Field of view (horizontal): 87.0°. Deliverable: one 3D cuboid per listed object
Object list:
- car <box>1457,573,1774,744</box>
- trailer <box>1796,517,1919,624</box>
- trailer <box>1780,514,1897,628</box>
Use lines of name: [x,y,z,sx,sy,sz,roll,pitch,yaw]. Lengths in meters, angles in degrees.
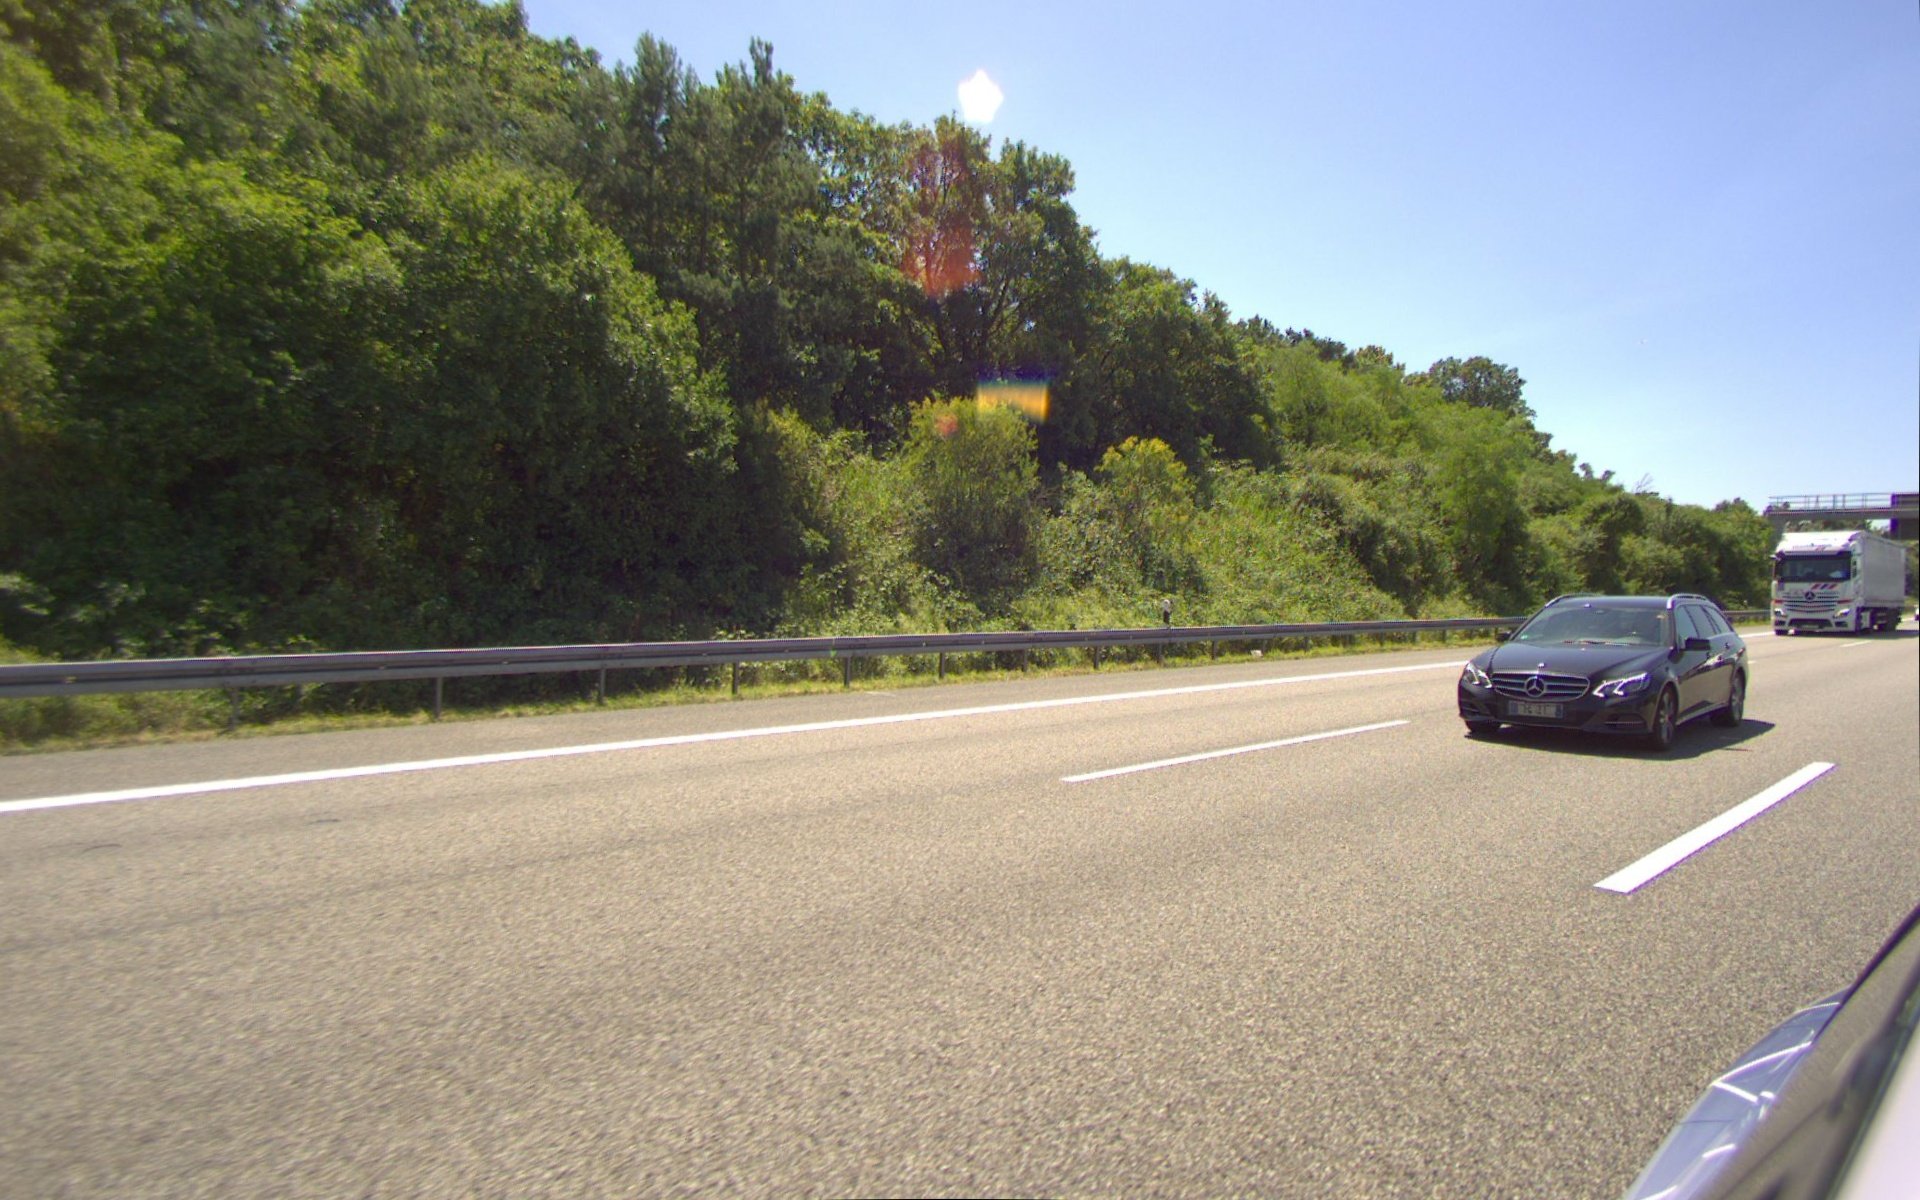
car: [7.447,0.519,11.293,4.656,1.524,1.844,0,0,-42]
trailer: [39.875,-1.188,44.670,12.963,4.154,2.732,0,1,-42]
trailer: [35.066,-1.108,40.310,6.672,4.154,2.717,0,1,-42]
